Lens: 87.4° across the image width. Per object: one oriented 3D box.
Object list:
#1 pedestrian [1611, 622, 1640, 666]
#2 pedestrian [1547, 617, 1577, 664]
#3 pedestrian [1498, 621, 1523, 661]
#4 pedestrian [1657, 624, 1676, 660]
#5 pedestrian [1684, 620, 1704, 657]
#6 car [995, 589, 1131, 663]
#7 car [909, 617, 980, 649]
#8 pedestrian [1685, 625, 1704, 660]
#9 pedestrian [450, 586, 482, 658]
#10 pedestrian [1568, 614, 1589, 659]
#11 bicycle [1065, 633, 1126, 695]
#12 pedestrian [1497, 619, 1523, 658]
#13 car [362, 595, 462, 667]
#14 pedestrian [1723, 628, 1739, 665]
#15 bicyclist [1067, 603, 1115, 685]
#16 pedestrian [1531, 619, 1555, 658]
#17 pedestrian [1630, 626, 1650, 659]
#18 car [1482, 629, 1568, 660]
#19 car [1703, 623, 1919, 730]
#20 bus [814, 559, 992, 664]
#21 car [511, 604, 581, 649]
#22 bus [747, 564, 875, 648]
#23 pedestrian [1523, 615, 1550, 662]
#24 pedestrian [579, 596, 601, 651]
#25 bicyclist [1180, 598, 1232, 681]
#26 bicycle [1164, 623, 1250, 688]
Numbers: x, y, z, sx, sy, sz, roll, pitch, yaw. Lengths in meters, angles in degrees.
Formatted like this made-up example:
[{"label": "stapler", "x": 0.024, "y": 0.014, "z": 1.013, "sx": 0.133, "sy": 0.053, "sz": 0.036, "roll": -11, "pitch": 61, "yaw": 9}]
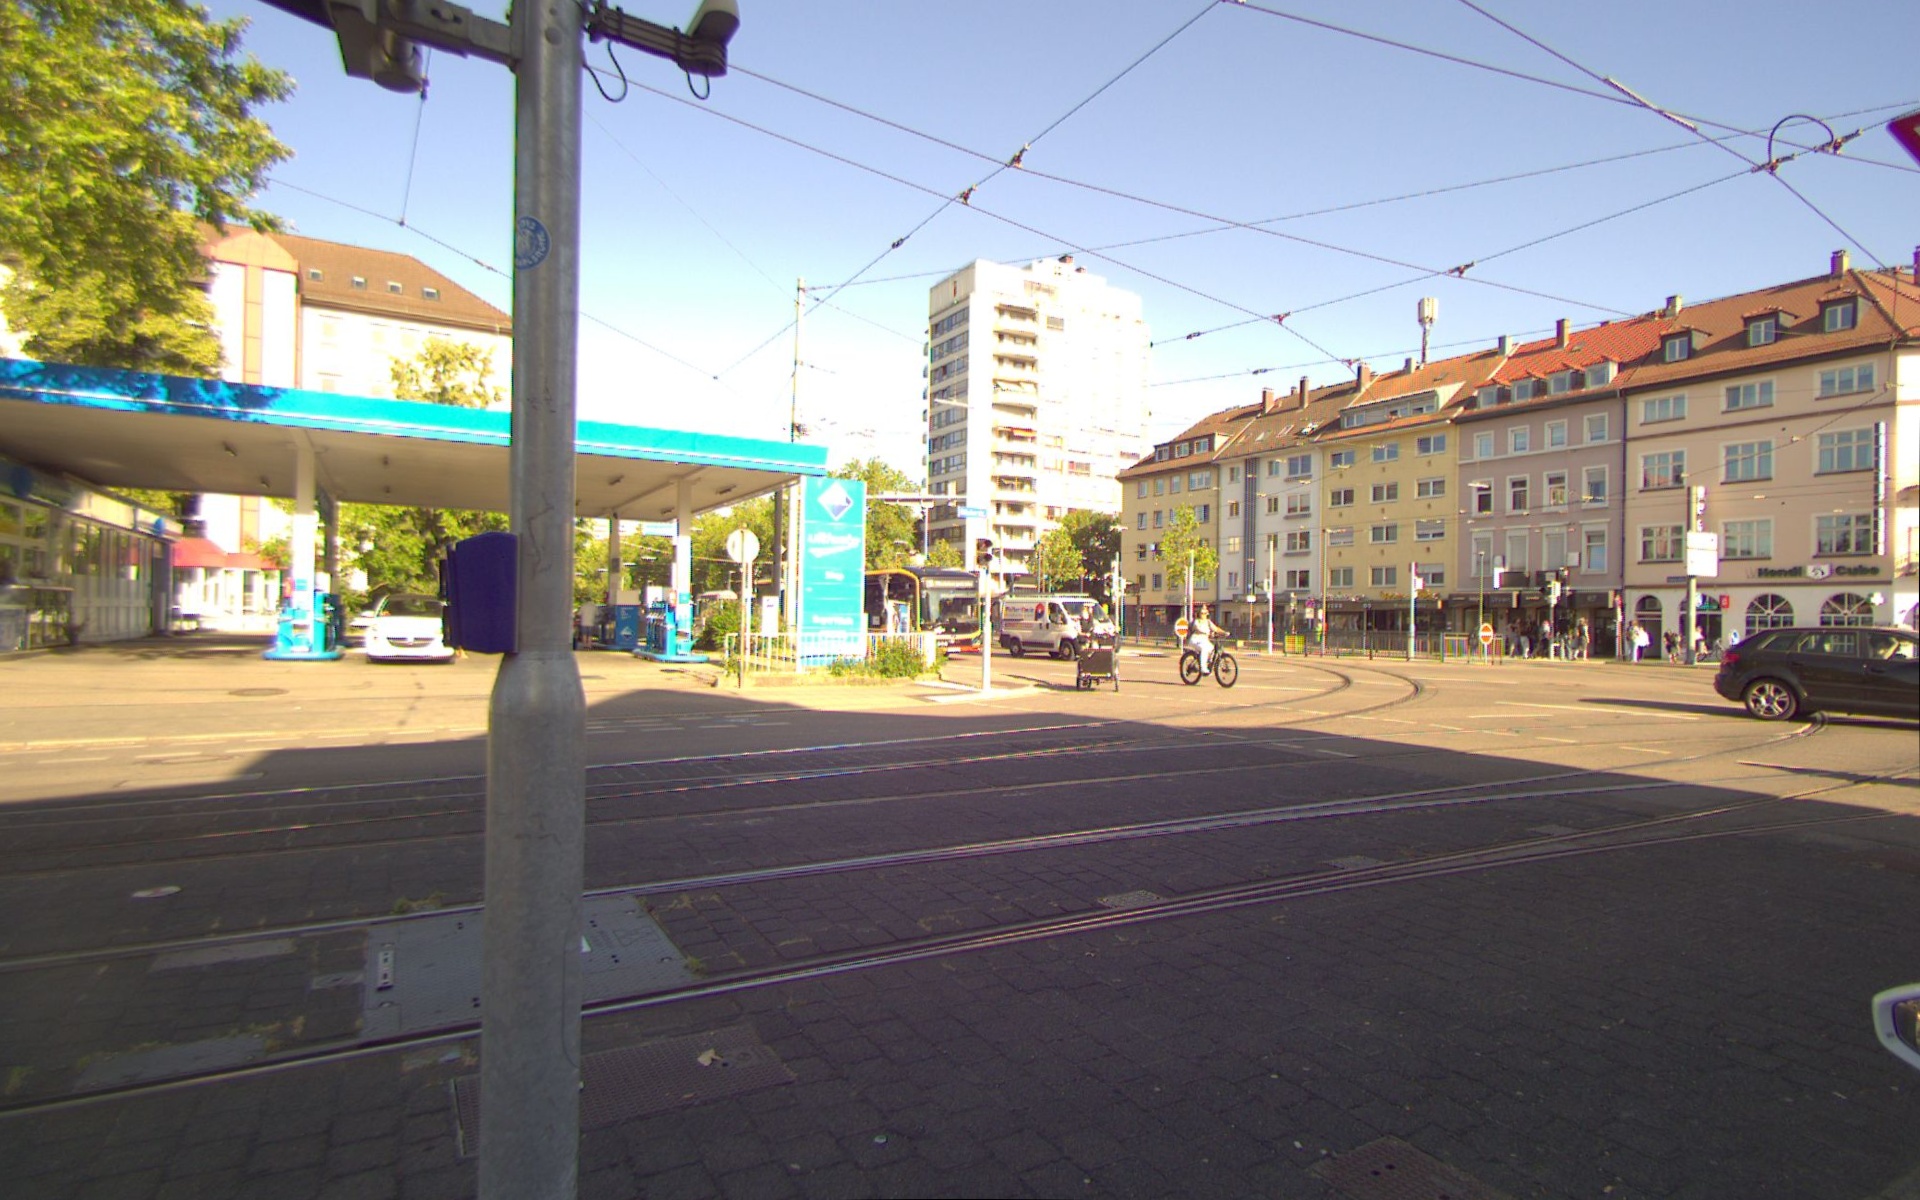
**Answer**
[{"label": "pedestrian", "x": 26.374, "y": 1.730, "z": 39.816, "sx": 0.621, "sy": 1.704, "sz": 0.737, "roll": 1, "pitch": -1, "yaw": -30}, {"label": "pedestrian", "x": 24.080, "y": 1.614, "z": 40.190, "sx": 0.714, "sy": 1.853, "sz": 0.763, "roll": 1, "pitch": -1, "yaw": -30}, {"label": "pedestrian", "x": 22.956, "y": 1.711, "z": 41.899, "sx": 0.565, "sy": 1.657, "sz": 0.737, "roll": 1, "pitch": -1, "yaw": -30}, {"label": "pedestrian", "x": 33.891, "y": 2.026, "z": 48.171, "sx": 0.731, "sy": 1.704, "sz": 0.626, "roll": 0, "pitch": -1, "yaw": 35}, {"label": "pedestrian", "x": 34.401, "y": 1.789, "z": 47.108, "sx": 0.731, "sy": 1.704, "sz": 0.626, "roll": 0, "pitch": -1, "yaw": 35}, {"label": "car", "x": 3.574, "y": 0.881, "z": 35.833, "sx": 2.059, "sy": 2.465, "sz": 5.079, "roll": 0, "pitch": 0, "yaw": -34}, {"label": "car", "x": -0.786, "y": 1.531, "z": 47.865, "sx": 1.697, "sy": 1.439, "sz": 4.149, "roll": 1, "pitch": -1, "yaw": -28}, {"label": "pedestrian", "x": 36.264, "y": 2.103, "z": 49.608, "sx": 0.731, "sy": 1.704, "sz": 0.626, "roll": 0, "pitch": -1, "yaw": 35}, {"label": "pedestrian", "x": -12.042, "y": 0.537, "z": 24.478, "sx": 0.581, "sy": 1.715, "sz": 0.754, "roll": 1, "pitch": -1, "yaw": -33}, {"label": "pedestrian", "x": 25.218, "y": 1.494, "z": 40.977, "sx": 0.554, "sy": 1.810, "sz": 0.556, "roll": 1, "pitch": -1, "yaw": -35}, {"label": "bicycle", "x": 2.752, "y": 1.278, "z": 20.633, "sx": 1.039, "sy": 1.116, "sz": 2.520, "roll": 1, "pitch": -1, "yaw": 3}, {"label": "pedestrian", "x": 24.169, "y": 1.681, "z": 44.145, "sx": 0.621, "sy": 1.704, "sz": 0.763, "roll": 1, "pitch": -1, "yaw": -30}, {"label": "car", "x": -12.371, "y": 0.665, "z": 22.554, "sx": 1.793, "sy": 1.461, "sz": 3.966, "roll": 1, "pitch": -1, "yaw": -31}, {"label": "pedestrian", "x": 26.998, "y": 1.632, "z": 35.189, "sx": 0.447, "sy": 1.270, "sz": 0.361, "roll": 1, "pitch": -1, "yaw": -41}, {"label": "bicyclist", "x": 2.736, "y": 0.912, "z": 21.093, "sx": 0.916, "sy": 1.659, "sz": 1.028, "roll": 1, "pitch": 0, "yaw": 3}, {"label": "pedestrian", "x": 24.481, "y": 1.608, "z": 42.155, "sx": 0.554, "sy": 1.602, "sz": 0.694, "roll": 1, "pitch": -1, "yaw": -35}, {"label": "pedestrian", "x": 35.910, "y": 2.230, "z": 53.031, "sx": 0.623, "sy": 1.704, "sz": 0.734, "roll": 1, "pitch": -1, "yaw": -41}, {"label": "car", "x": 30.732, "y": 2.401, "z": 54.771, "sx": 1.795, "sy": 1.511, "sz": 3.715, "roll": 2, "pitch": 0, "yaw": -27}, {"label": "car", "x": 13.429, "y": 1.066, "z": 14.363, "sx": 1.630, "sy": 1.400, "sz": 4.241, "roll": 1, "pitch": -1, "yaw": -36}, {"label": "bus", "x": -2.469, "y": 0.341, "z": 38.197, "sx": 2.748, "sy": 3.504, "sz": 9.364, "roll": 0, "pitch": 1, "yaw": -31}, {"label": "car", "x": -13.590, "y": 0.852, "z": 32.875, "sx": 1.697, "sy": 1.360, "sz": 3.970, "roll": 1, "pitch": -1, "yaw": -28}, {"label": "bus", "x": -7.002, "y": 0.200, "z": 45.910, "sx": 2.755, "sy": 3.504, "sz": 8.571, "roll": 0, "pitch": 1, "yaw": -30}, {"label": "pedestrian", "x": 23.353, "y": 1.541, "z": 40.685, "sx": 0.769, "sy": 1.874, "sz": 0.625, "roll": 1, "pitch": -1, "yaw": -30}, {"label": "pedestrian", "x": -11.830, "y": 0.755, "z": 32.081, "sx": 0.579, "sy": 1.715, "sz": 0.756, "roll": 1, "pitch": -1, "yaw": -25}, {"label": "bicyclist", "x": 5.270, "y": 0.839, "z": 21.545, "sx": 0.725, "sy": 1.737, "sz": 0.794, "roll": 1, "pitch": -2, "yaw": -31}, {"label": "bicycle", "x": 5.260, "y": 1.183, "z": 21.518, "sx": 0.616, "sy": 1.315, "sz": 1.931, "roll": 1, "pitch": -3, "yaw": -31}]
